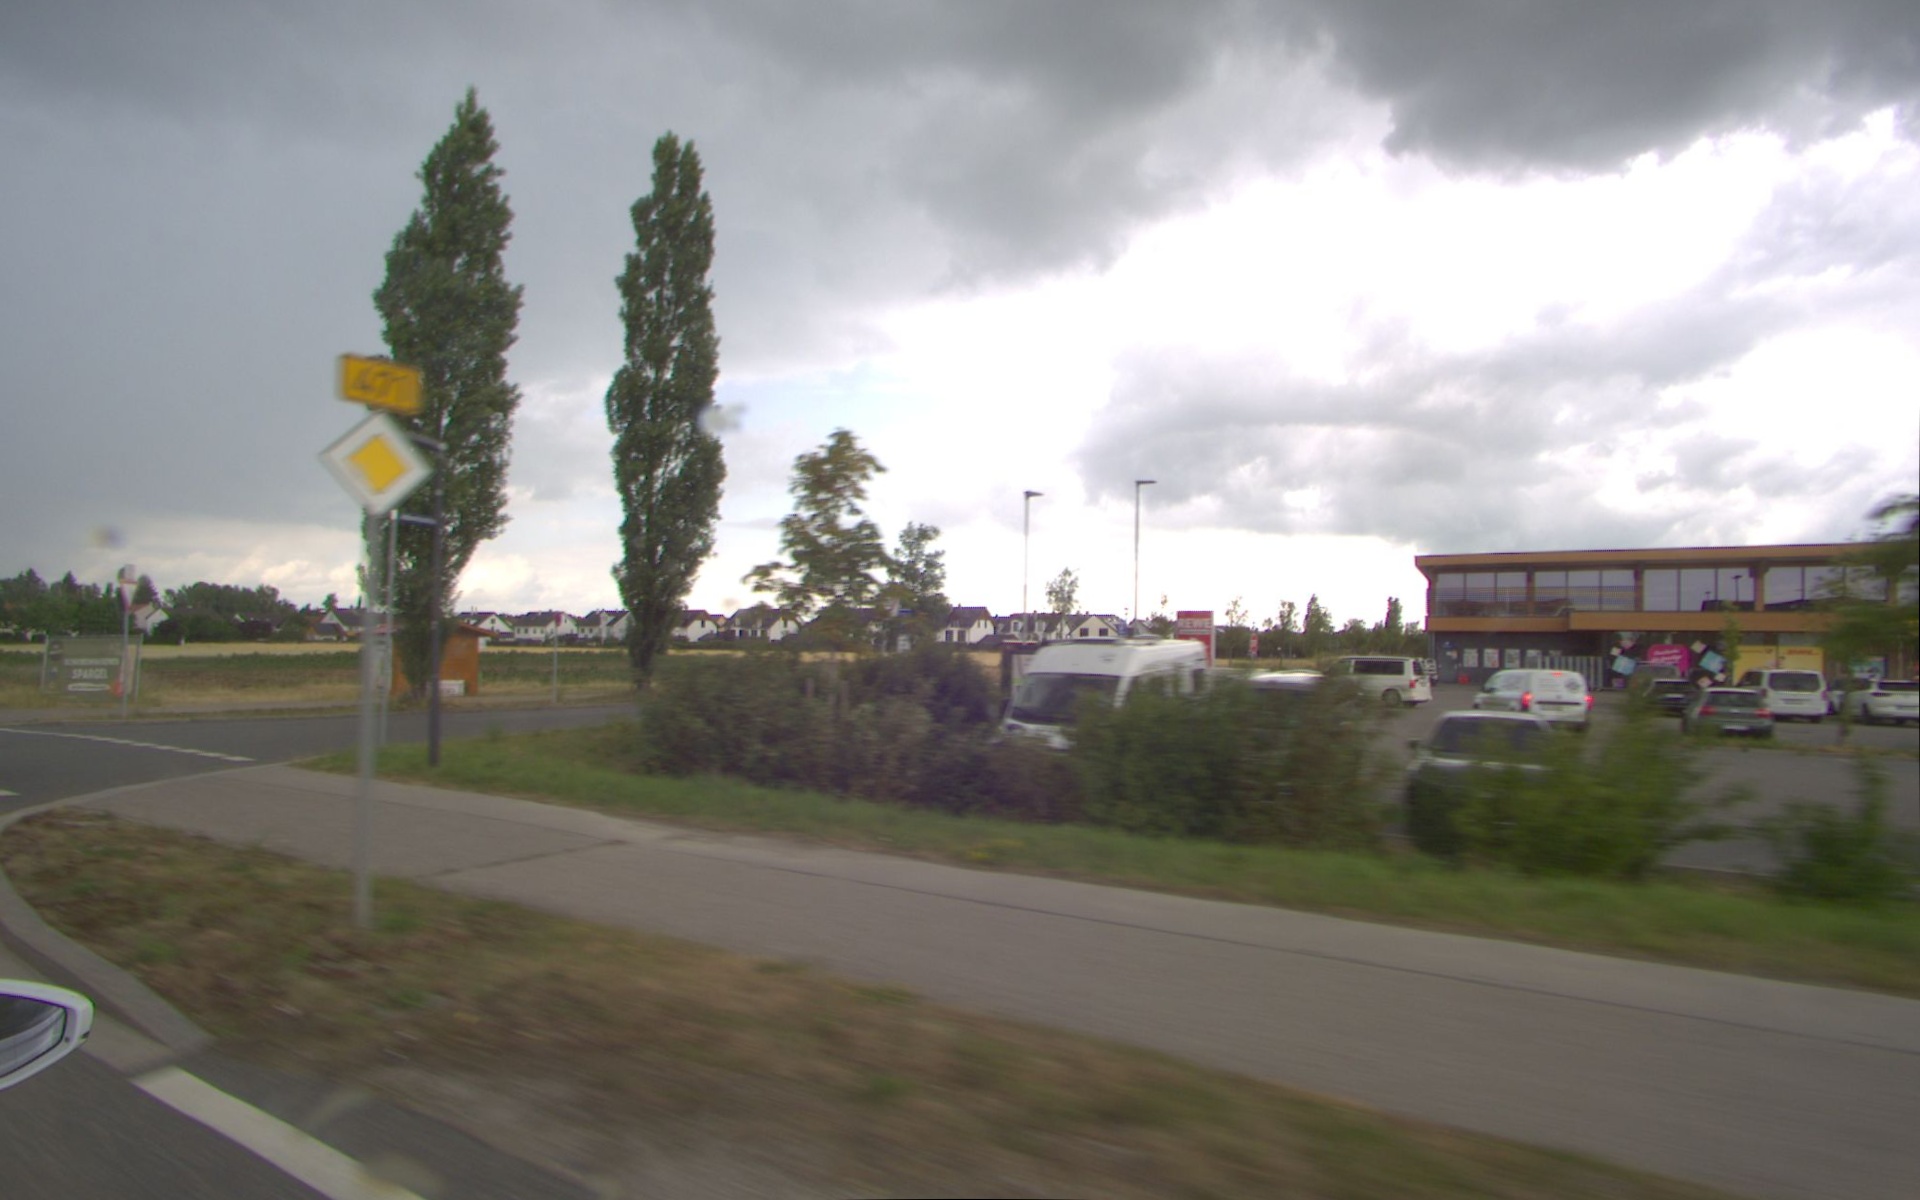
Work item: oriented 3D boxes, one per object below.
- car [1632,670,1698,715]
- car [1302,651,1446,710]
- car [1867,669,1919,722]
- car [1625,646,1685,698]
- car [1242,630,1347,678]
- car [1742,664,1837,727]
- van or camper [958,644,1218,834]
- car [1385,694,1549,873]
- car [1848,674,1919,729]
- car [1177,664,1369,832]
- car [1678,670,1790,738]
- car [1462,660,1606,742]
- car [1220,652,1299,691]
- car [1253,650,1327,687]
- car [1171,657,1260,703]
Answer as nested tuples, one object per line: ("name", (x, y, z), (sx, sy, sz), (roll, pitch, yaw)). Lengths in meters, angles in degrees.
("car", (26.478, 3.453, 37.704), (1.748, 1.400, 3.457), (0, -1, 30))
("car", (16.649, 3.170, 40.563), (1.975, 2.040, 5.198), (0, -1, -35))
("car", (36.553, 3.664, 38.617), (1.920, 1.772, 3.974), (0, -1, 37))
("car", (30.369, 3.086, 43.842), (1.824, 2.036, 4.212), (0, -1, 30))
("car", (15.234, 2.419, 45.671), (4.227, 2.040, 1.989), (0, -1, 34))
("car", (29.724, 3.369, 36.023), (2.009, 1.936, 3.887), (0, -1, 30))
("van or camper", (2.532, 2.113, 17.496), (2.247, 2.496, 6.459), (0, -1, 30))
("car", (7.223, 2.336, 14.021), (1.732, 1.619, 5.089), (0, -1, 30))
("car", (32.683, 3.510, 34.900), (2.010, 1.628, 3.730), (0, -1, 32))
("car", (5.137, 2.156, 16.004), (1.970, 2.040, 4.587), (0, -1, 30))
("car", (21.097, 2.779, 27.462), (1.874, 1.451, 4.172), (0, -1, 30))
("car", (16.493, 2.823, 29.115), (2.070, 1.931, 4.941), (0, -1, 10))
("car", (17.168, 4.077, 57.443), (3.943, 2.040, 1.990), (0, -1, 33))
("car", (20.059, 4.136, 60.891), (3.943, 2.040, 1.990), (0, -1, 33))
("car", (12.794, 3.955, 50.163), (3.943, 2.040, 1.990), (0, -1, 33))
